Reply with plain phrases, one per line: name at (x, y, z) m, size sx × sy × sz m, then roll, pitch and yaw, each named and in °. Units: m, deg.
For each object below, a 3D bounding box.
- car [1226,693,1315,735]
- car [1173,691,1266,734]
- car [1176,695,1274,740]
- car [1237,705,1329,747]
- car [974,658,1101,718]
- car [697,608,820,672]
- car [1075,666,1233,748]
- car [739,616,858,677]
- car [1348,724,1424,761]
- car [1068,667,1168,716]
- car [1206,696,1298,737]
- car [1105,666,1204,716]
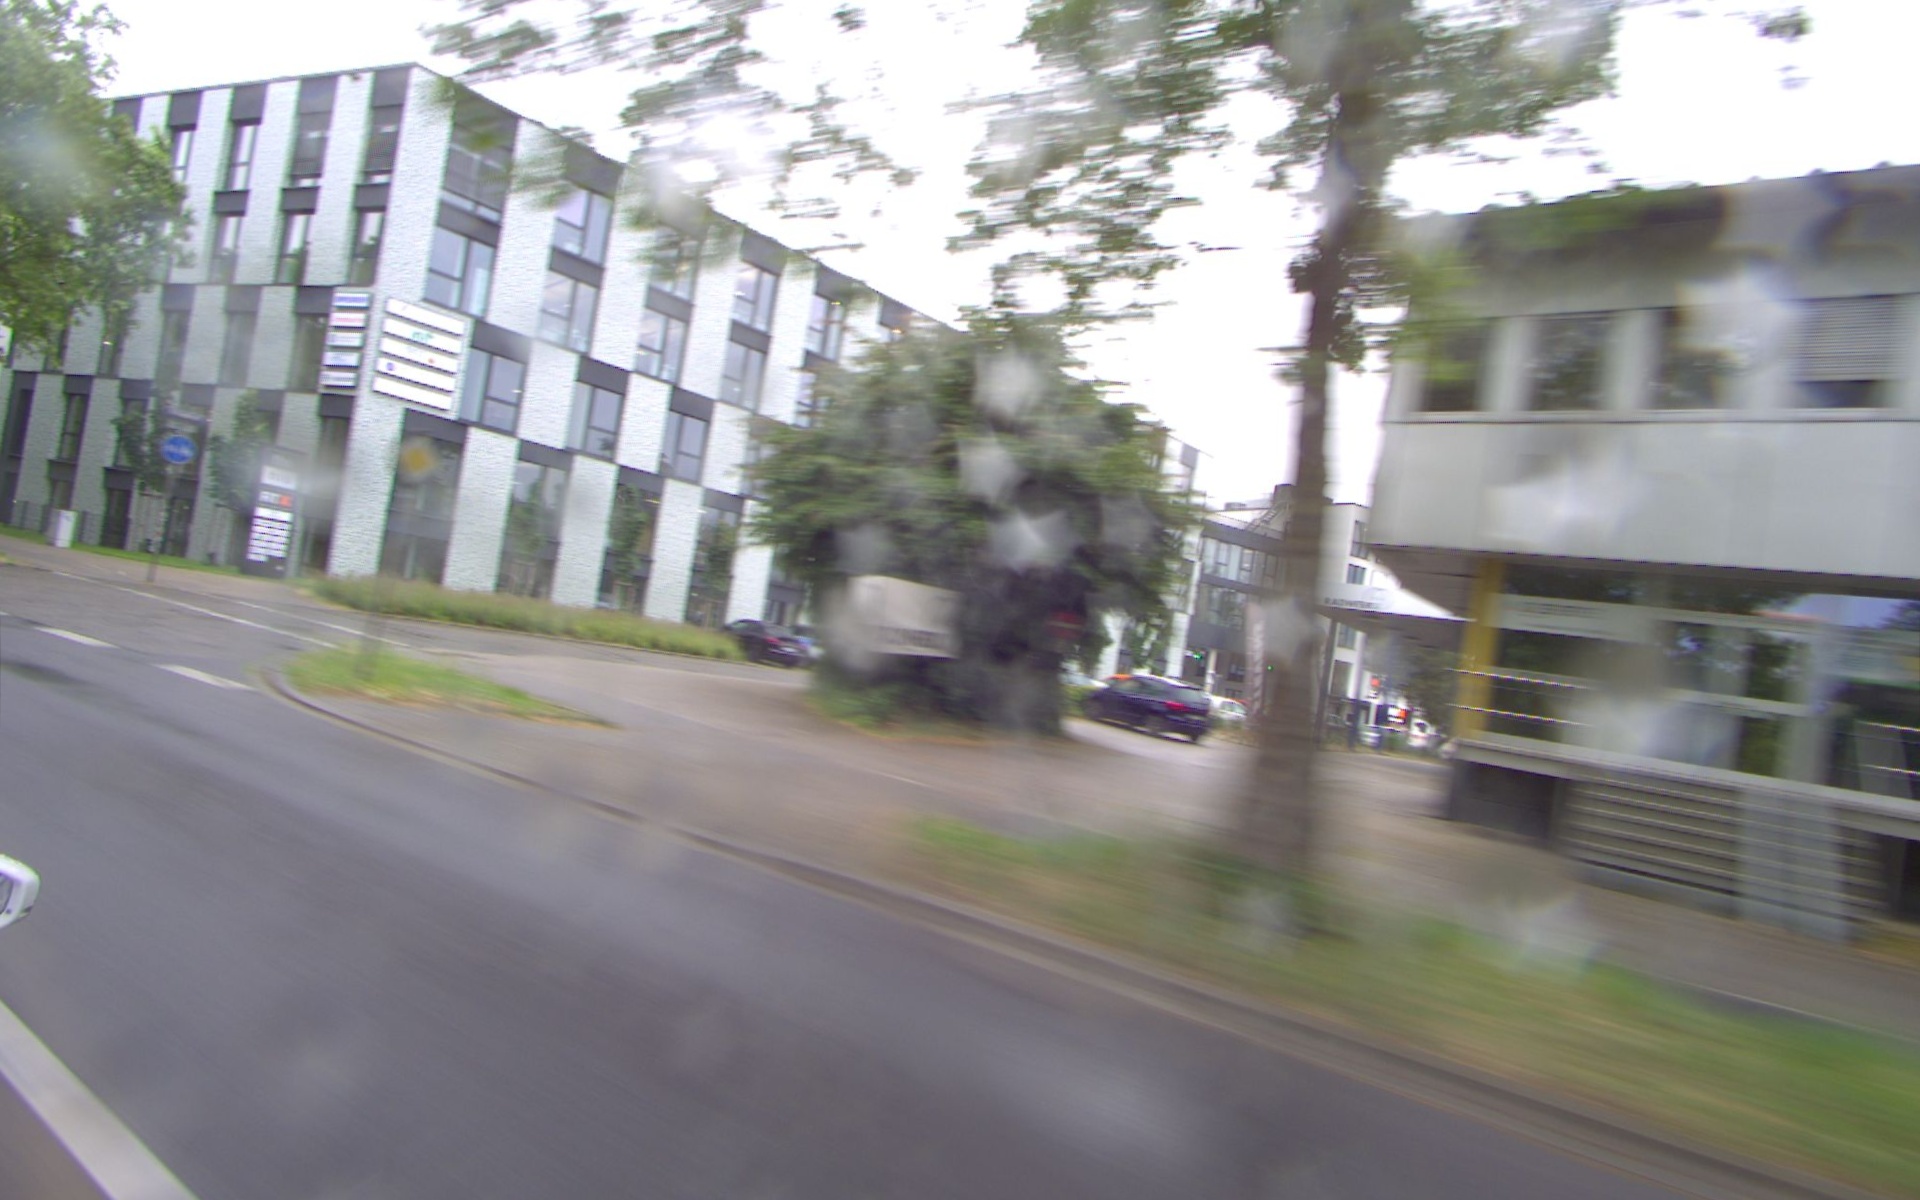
car at (18.903, 6.931, 61.369) m, size 4.669 × 1.748 × 1.885 m, roll 7°, pitch -3°, yaw 45°
car at (14.760, 6.389, 57.357) m, size 4.669 × 1.547 × 1.885 m, roll 7°, pitch -3°, yaw 45°
car at (11.600, 5.124, 43.866) m, size 4.275 × 1.484 × 1.875 m, roll 10°, pitch -6°, yaw -38°
car at (15.002, 5.869, 46.675) m, size 4.271 × 1.484 × 1.877 m, roll 10°, pitch -6°, yaw -36°
car at (2.708, 3.020, 34.305) m, size 4.285 × 1.545 × 1.871 m, roll 11°, pitch -7°, yaw -44°
car at (-7.214, 1.399, 35.728) m, size 4.669 × 1.547 × 1.885 m, roll 7°, pitch -3°, yaw 45°
car at (5.341, 2.948, 28.224) m, size 1.877 × 1.547 × 4.118 m, roll 10°, pitch -2°, yaw -33°
car at (-6.165, 1.712, 37.999) m, size 4.668 × 1.546 × 1.886 m, roll 7°, pitch -3°, yaw 44°
car at (22.326, 7.472, 52.624) m, size 4.278 × 1.484 × 1.874 m, roll 11°, pitch -6°, yaw -40°
car at (7.997, 4.659, 51.279) m, size 4.669 × 1.680 × 1.885 m, roll 7°, pitch -3°, yaw 45°
car at (16.936, 6.767, 58.532) m, size 4.669 × 1.547 × 1.885 m, roll 7°, pitch -3°, yaw 45°
car at (10.202, 4.776, 53.070) m, size 4.669 × 1.866 × 1.885 m, roll 7°, pitch -3°, yaw 45°
